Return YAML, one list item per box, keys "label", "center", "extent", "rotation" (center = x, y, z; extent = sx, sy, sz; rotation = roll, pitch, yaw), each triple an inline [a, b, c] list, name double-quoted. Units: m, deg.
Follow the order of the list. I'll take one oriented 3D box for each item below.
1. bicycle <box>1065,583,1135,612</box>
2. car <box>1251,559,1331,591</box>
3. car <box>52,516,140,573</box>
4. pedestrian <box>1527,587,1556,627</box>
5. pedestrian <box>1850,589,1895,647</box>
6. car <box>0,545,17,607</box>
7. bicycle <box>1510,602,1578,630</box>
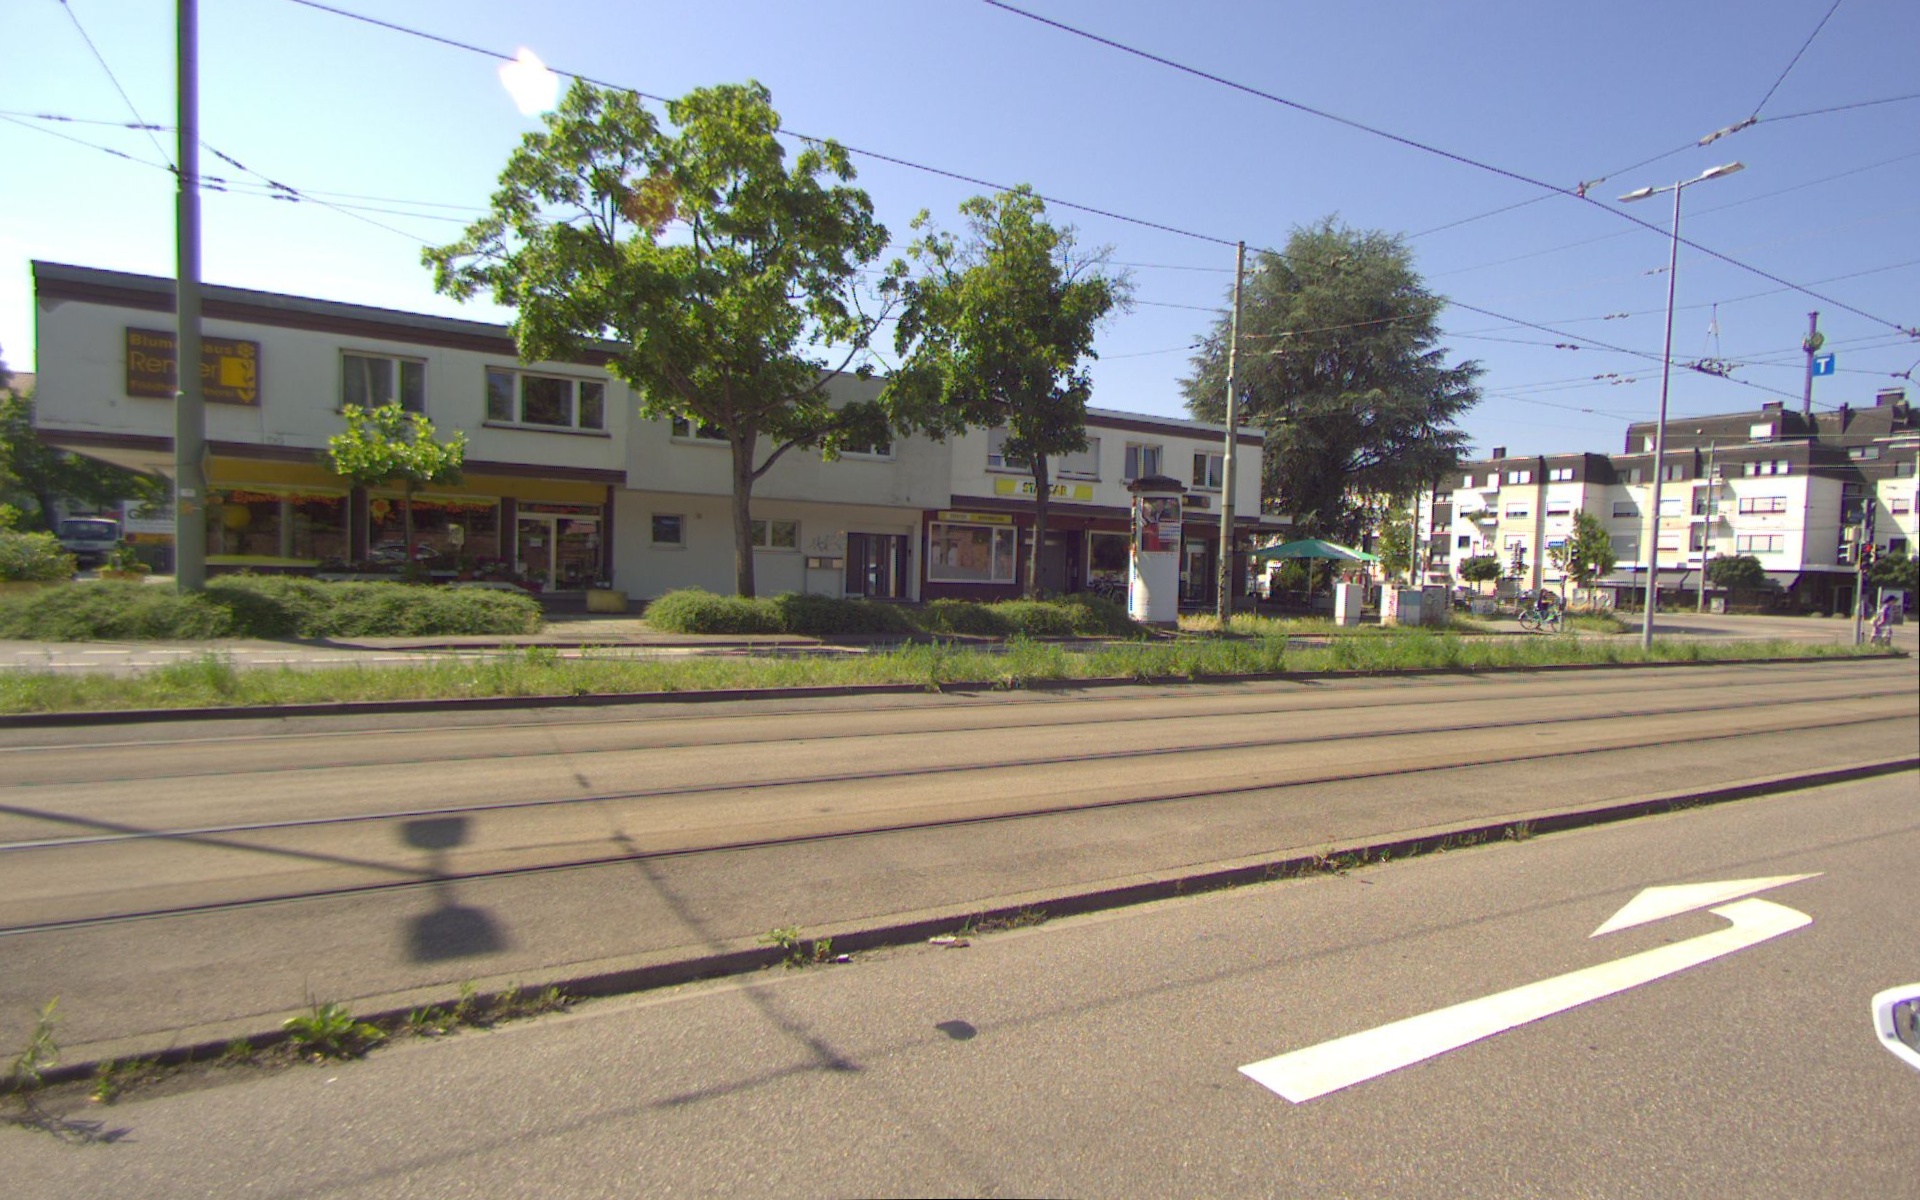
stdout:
- label: "bicycle"
  center: [4.799, -0.082, 34.386]
  extent: [2.362, 0.900, 0.779]
  rotation: [1, 2, -30]
- label: "car"
  center: [24.791, -1.907, 75.418]
  extent: [2.224, 2.041, 5.524]
  rotation: [1, 4, -31]
- label: "car"
  center: [-36.783, -2.334, 42.876]
  extent: [2.077, 2.203, 4.901]
  rotation: [1, 2, -32]
- label: "pedestrian"
  center: [22.385, 0.251, 38.658]
  extent: [0.800, 1.507, 0.566]
  rotation: [2, 2, 18]
- label: "pedestrian"
  center: [28.229, 0.544, 31.079]
  extent: [0.923, 1.762, 0.820]
  rotation: [0, 2, -37]
- label: "car"
  center: [-21.386, -0.501, 20.812]
  extent: [1.676, 1.363, 4.129]
  rotation: [1, 2, -28]
- label: "bicycle"
  center: [22.166, 0.596, 38.152]
  extent: [2.134, 0.934, 0.553]
  rotation: [2, 2, 19]
